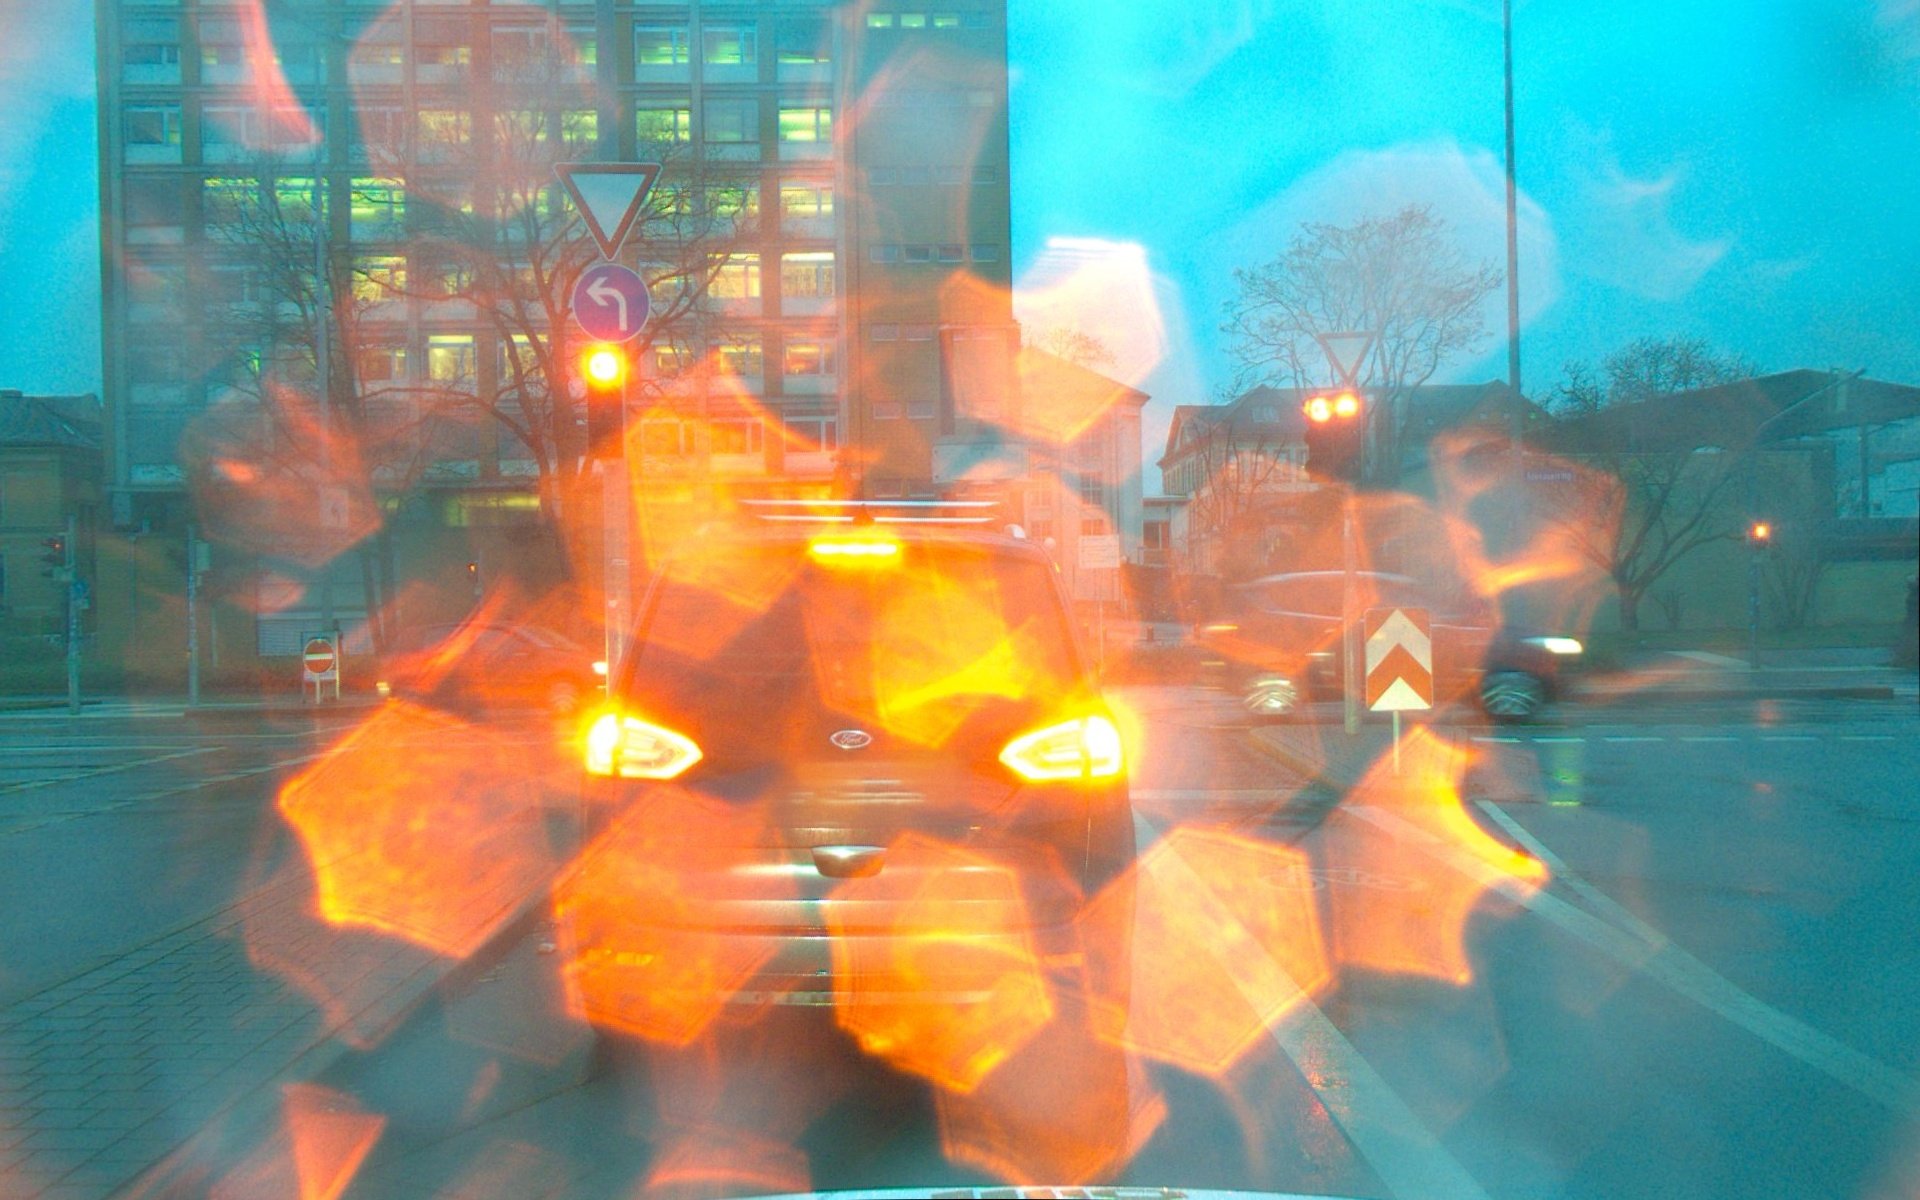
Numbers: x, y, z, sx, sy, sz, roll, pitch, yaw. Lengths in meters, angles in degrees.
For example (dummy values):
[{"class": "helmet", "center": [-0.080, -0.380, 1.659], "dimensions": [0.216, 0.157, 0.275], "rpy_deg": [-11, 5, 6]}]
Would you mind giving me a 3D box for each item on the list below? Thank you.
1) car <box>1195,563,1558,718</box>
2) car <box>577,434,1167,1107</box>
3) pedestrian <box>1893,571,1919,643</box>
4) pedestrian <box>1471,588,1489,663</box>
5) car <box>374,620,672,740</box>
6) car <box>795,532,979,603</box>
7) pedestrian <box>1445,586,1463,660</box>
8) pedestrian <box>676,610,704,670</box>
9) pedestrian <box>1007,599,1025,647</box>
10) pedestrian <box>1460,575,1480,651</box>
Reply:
[{"class": "car", "center": [4.831, 0.472, 19.553], "dimensions": [3.978, 1.713, 1.761], "rpy_deg": [0, -2, 11]}, {"class": "car", "center": [-0.269, 0.457, 6.562], "dimensions": [1.613, 1.850, 3.999], "rpy_deg": [0, 0, -1]}, {"class": "pedestrian", "center": [23.596, 0.189, 40.909], "dimensions": [0.610, 1.755, 0.760], "rpy_deg": [0, -2, 6]}, {"class": "pedestrian", "center": [13.132, 0.653, 41.762], "dimensions": [0.428, 1.871, 0.460], "rpy_deg": [0, -2, 18]}, {"class": "car", "center": [-6.590, 1.180, 25.079], "dimensions": [3.983, 1.713, 1.761], "rpy_deg": [0, -2, 12]}, {"class": "car", "center": [-2.208, -0.988, 50.914], "dimensions": [5.429, 2.060, 2.001], "rpy_deg": [0, -2, 5]}, {"class": "pedestrian", "center": [12.536, 0.596, 41.999], "dimensions": [0.428, 1.871, 0.460], "rpy_deg": [0, -2, 17]}, {"class": "pedestrian", "center": [-7.608, 1.126, 46.640], "dimensions": [0.632, 1.695, 0.563], "rpy_deg": [0, -2, 7]}, {"class": "pedestrian", "center": [1.516, 0.628, 44.695], "dimensions": [0.423, 1.292, 0.442], "rpy_deg": [0, -2, 11]}, {"class": "pedestrian", "center": [12.646, 0.323, 41.003], "dimensions": [0.448, 1.871, 0.439], "rpy_deg": [0, -2, 16]}]
